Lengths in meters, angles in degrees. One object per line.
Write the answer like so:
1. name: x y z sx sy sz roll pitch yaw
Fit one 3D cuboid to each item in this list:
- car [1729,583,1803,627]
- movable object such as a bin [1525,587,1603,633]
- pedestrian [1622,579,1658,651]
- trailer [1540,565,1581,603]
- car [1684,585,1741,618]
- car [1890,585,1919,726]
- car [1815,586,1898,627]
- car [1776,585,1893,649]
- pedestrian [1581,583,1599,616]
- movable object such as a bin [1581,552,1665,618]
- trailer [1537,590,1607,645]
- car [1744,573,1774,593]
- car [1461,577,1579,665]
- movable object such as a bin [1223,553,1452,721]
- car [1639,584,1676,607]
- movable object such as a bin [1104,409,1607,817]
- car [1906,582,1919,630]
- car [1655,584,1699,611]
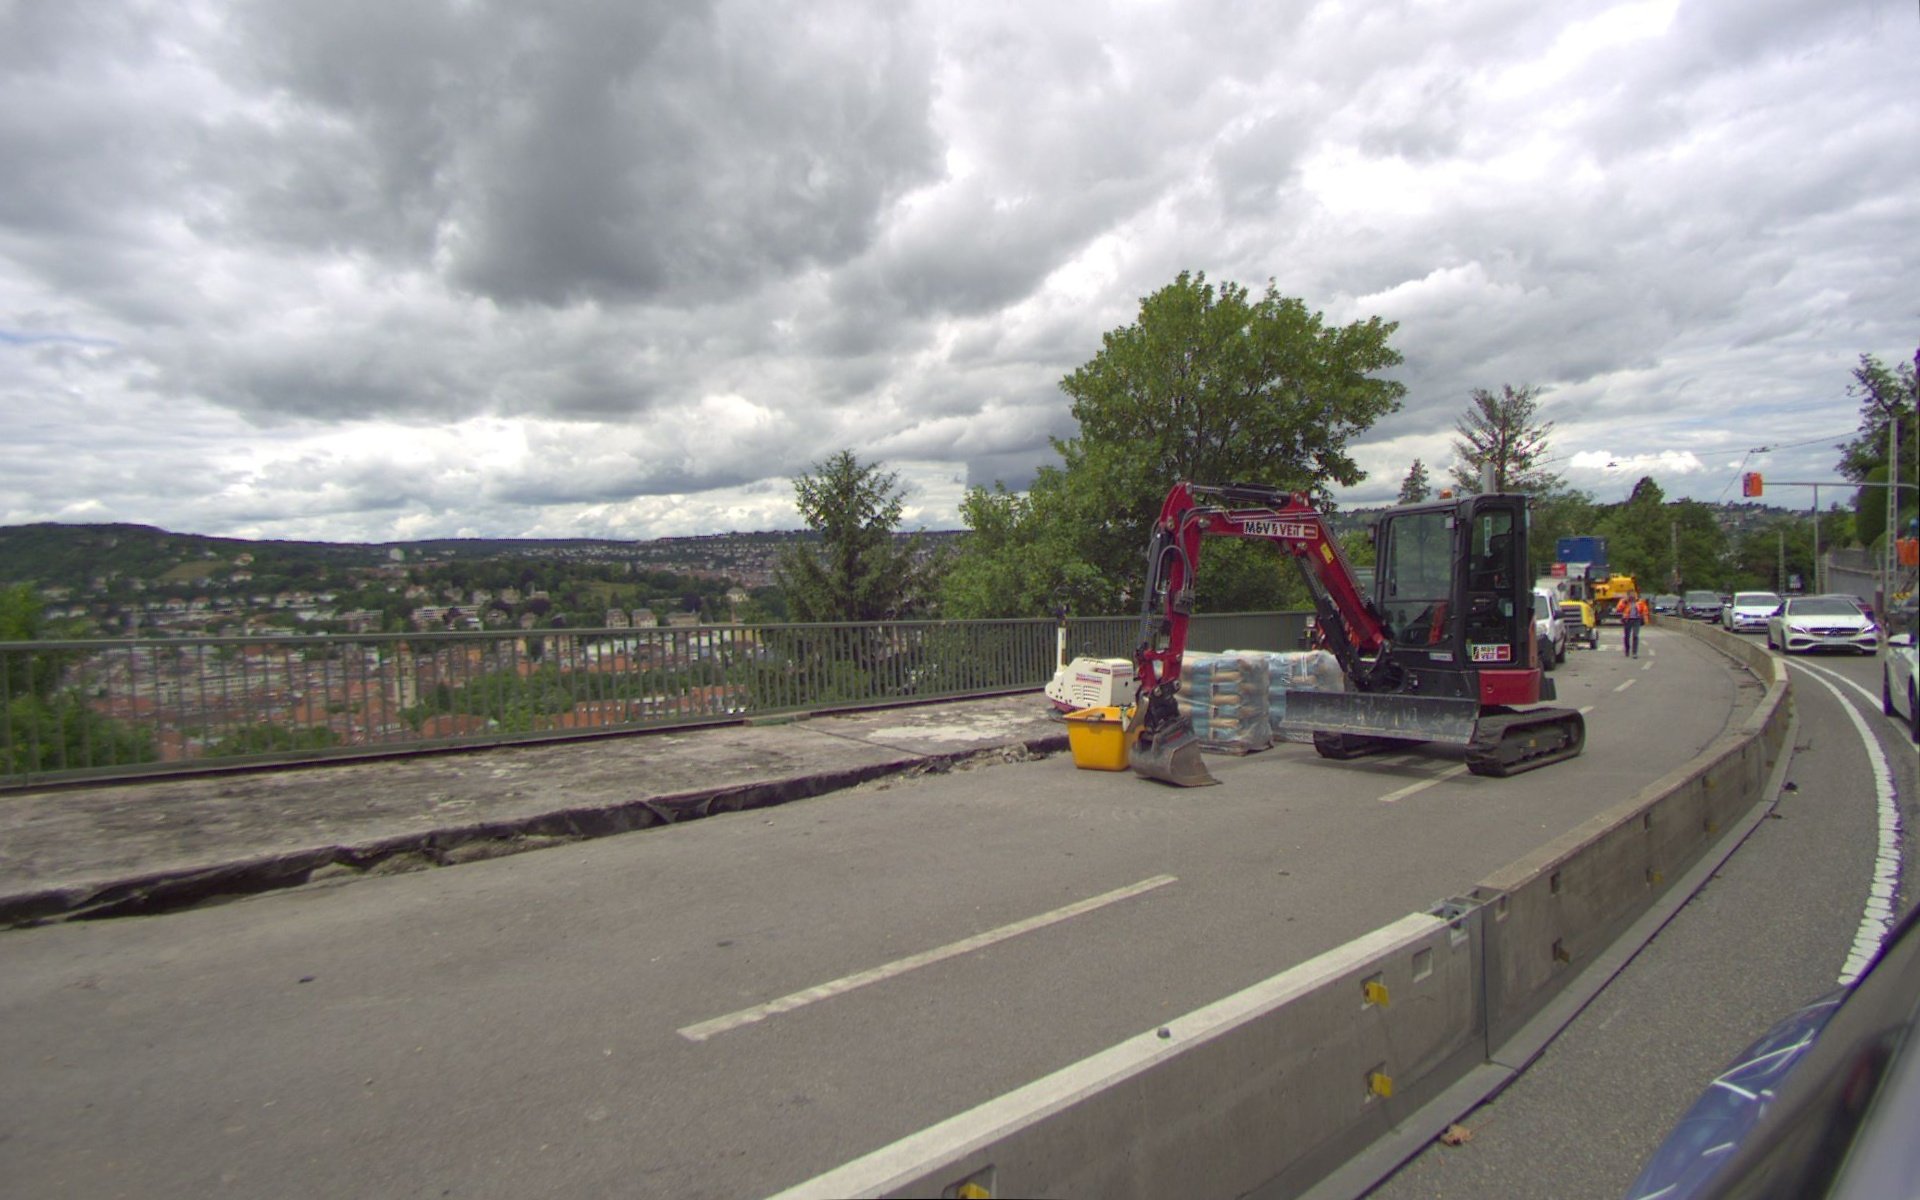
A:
1. car: 30.627 0.162 38.571 1.780 1.571 4.194 0 0 33
2. movable object such as a bin: 23.129 0.330 38.934 2.361 1.581 7.024 -1 0 30
3. pedestrian: 16.806 0.372 25.008 0.642 1.723 0.840 -2 -1 32
4. trailer: 43.017 -1.138 72.496 2.100 2.581 5.054 2 1 35
5. car: 38.100 0.043 51.347 1.785 1.529 3.959 2 2 30
6. car: 11.343 0.577 10.773 1.784 1.499 4.186 -1 0 38
7. car: 35.823 0.234 40.528 1.788 1.501 4.278 -3 -1 33
8. car: 22.200 0.384 25.832 1.781 1.499 4.192 -1 0 35
9. pedestrian: 34.670 -0.035 55.688 0.682 1.818 0.536 -1 -1 20
10. movable object such as a bin: 34.218 -0.737 52.491 2.794 3.110 7.747 -1 0 28
11. trailer: 17.556 0.461 28.976 1.286 1.494 3.584 -1 0 38
12. car: 69.233 -1.443 87.681 1.840 1.620 4.199 -1 0 42
13. car: 12.707 0.417 22.852 1.827 1.802 4.213 -1 0 36
14. movable object such as a bin: 5.330 0.428 13.978 1.698 1.967 4.105 -1 -1 40
15. car: 50.447 -0.337 73.275 1.785 1.529 3.959 2 2 30
16. movable object such as a bin: 3.753 0.075 9.137 4.858 2.697 2.215 -1 -1 -41
17. car: 29.608 0.154 29.654 1.786 1.465 4.315 -2 -1 31
18. car: 44.447 -0.192 62.804 1.785 1.529 3.959 2 2 30
